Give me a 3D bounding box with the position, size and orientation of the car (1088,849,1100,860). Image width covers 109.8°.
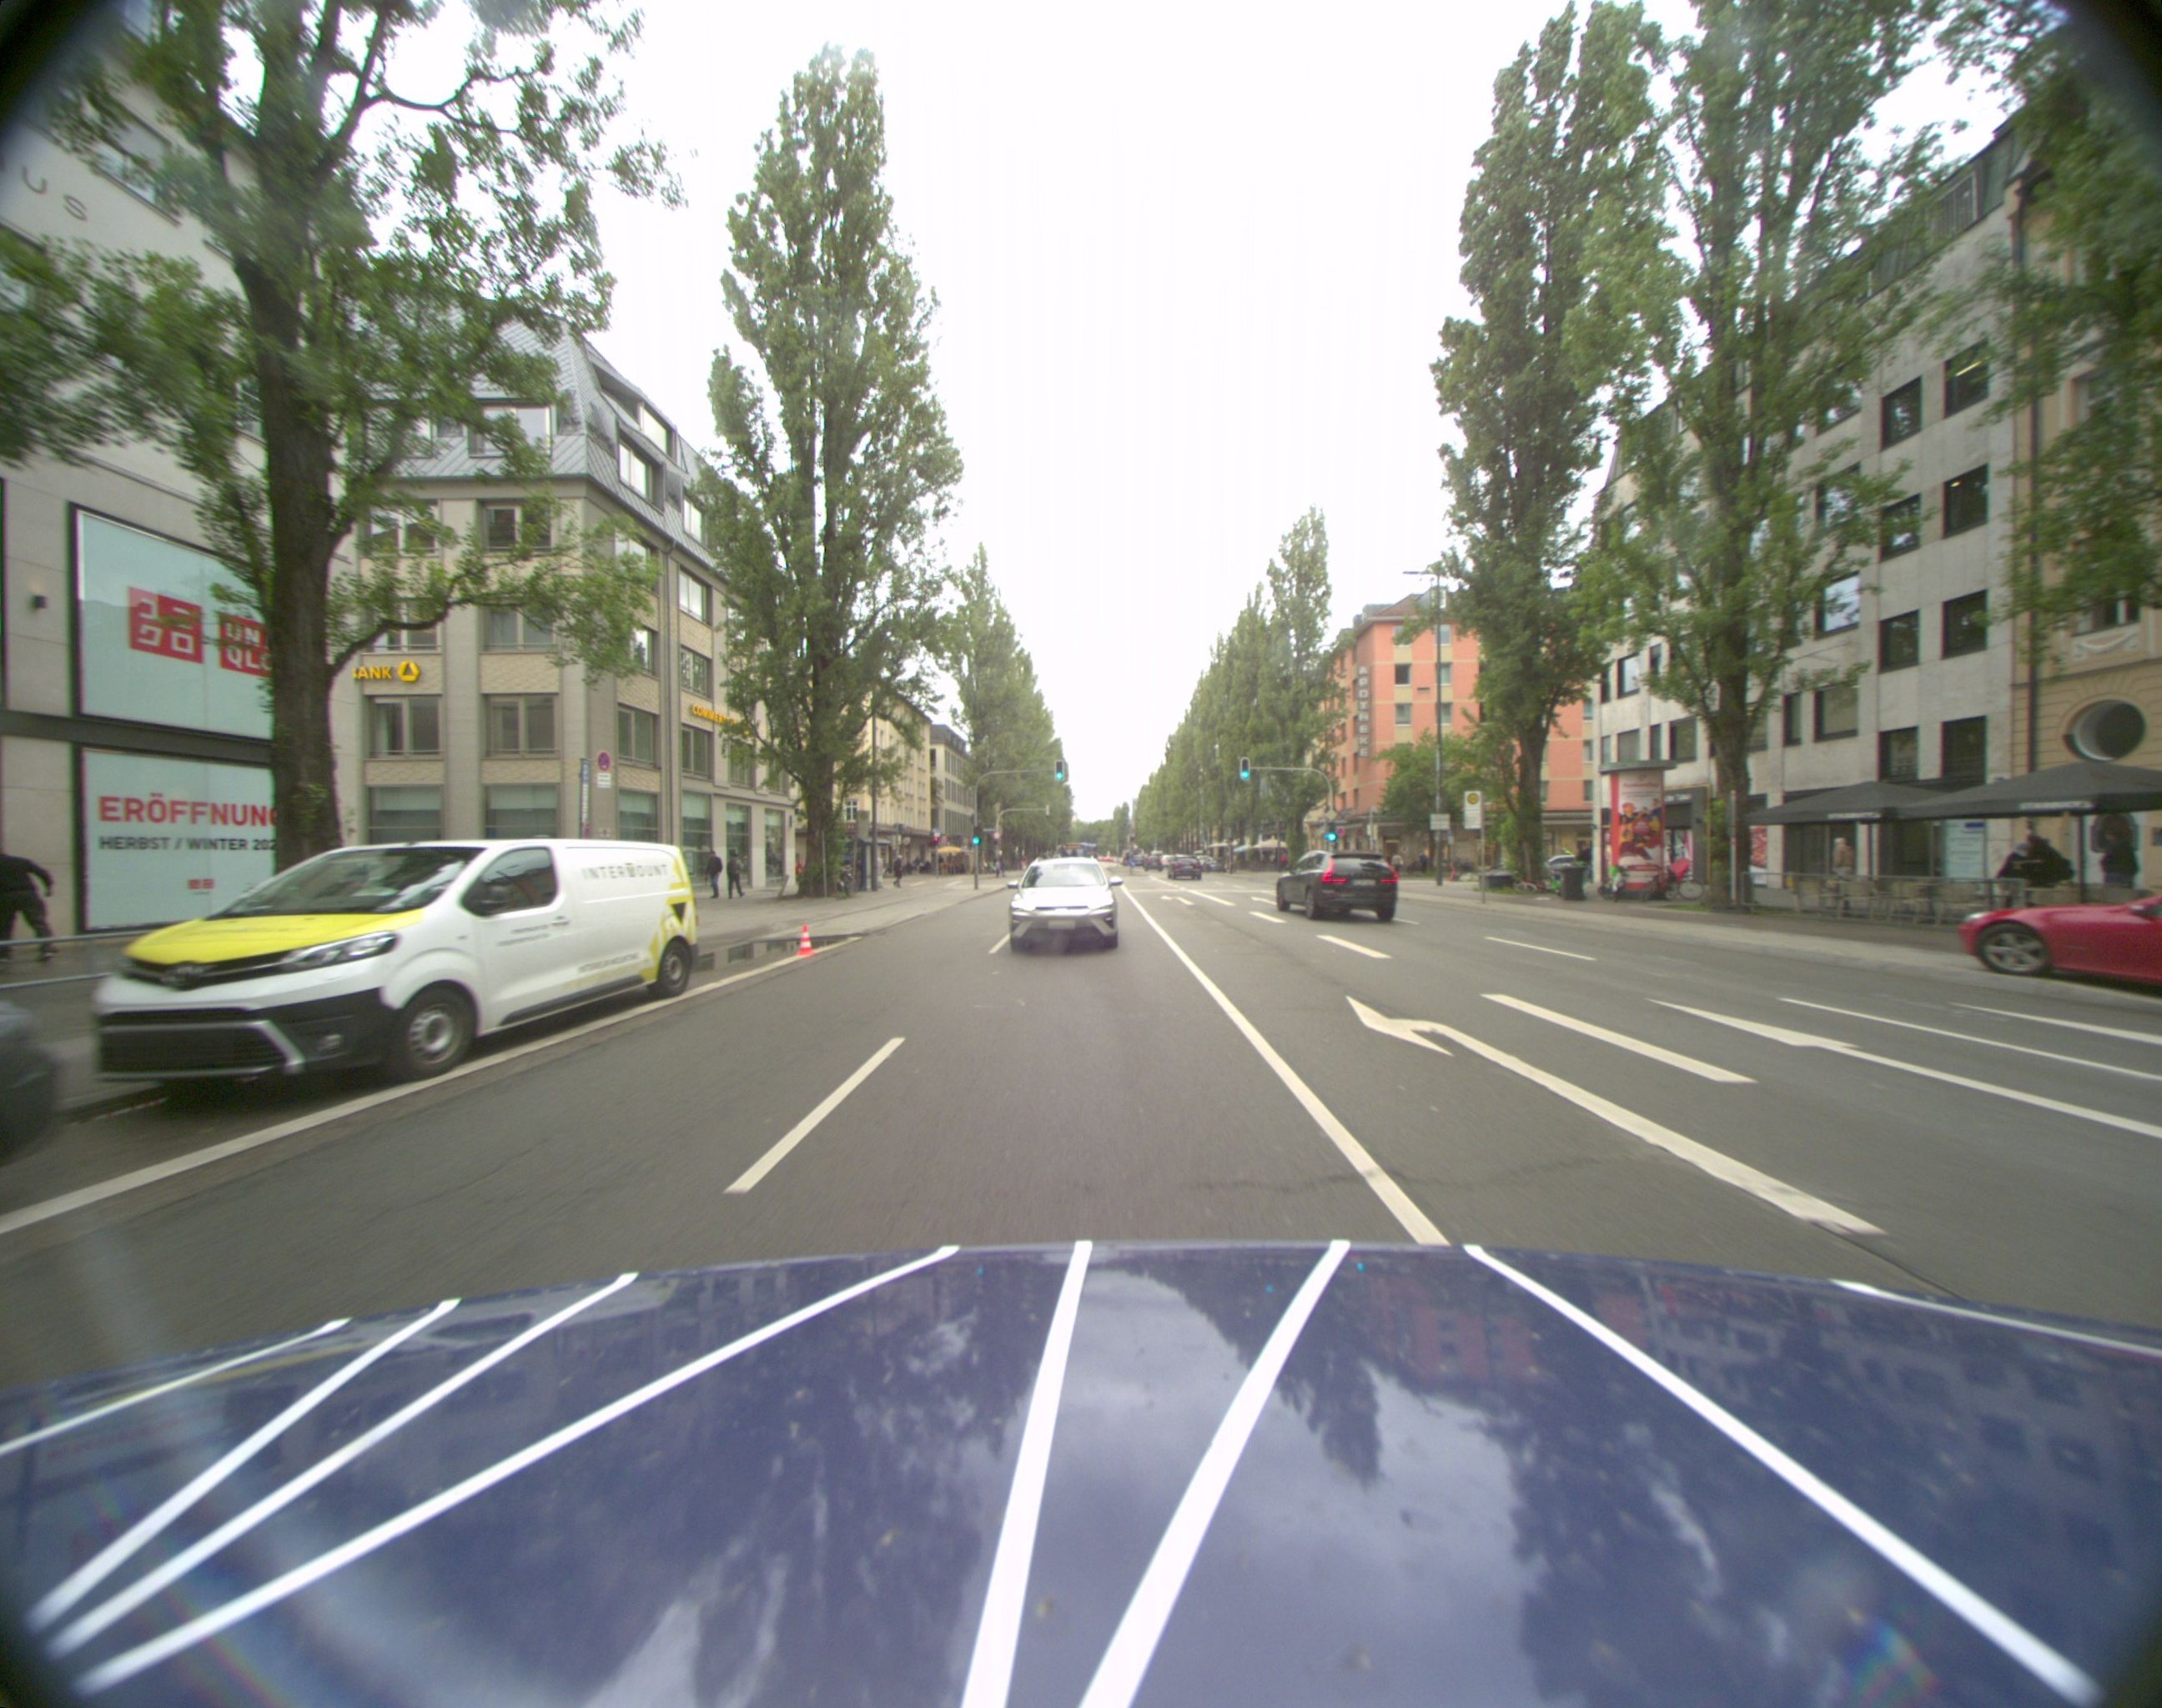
[{"bbox_3d":[2.143,0.067,125.236,2.052,1.671,4.586,1,0,1],"label":"car"}]

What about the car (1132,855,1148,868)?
[{"bbox_3d":[7.972,0.964,103.022,1.889,1.736,4.439,-1,0,2],"label":"car"}]

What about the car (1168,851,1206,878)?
[{"bbox_3d":[6.966,0.635,50.351,1.918,1.671,4.586,1,0,1],"label":"car"}]

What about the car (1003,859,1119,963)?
[{"bbox_3d":[-0.294,0.894,13.674,1.758,1.529,3.916,-1,0,1],"label":"car"}]

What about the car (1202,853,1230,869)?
[{"bbox_3d":[12.773,0.654,72.127,1.707,1.430,4.589,0,1,0],"label":"car"}]

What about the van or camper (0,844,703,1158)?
[{"bbox_3d":[-5.732,0.885,7.061,1.873,1.872,4.903,-1,0,1],"label":"van or camper"}]

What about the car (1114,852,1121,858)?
[{"bbox_3d":[10.113,0.293,209.039,1.848,1.626,4.576,1,0,2],"label":"car"}]

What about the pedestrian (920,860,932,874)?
[{"bbox_3d":[-14.034,1.181,68.872,0.870,1.192,0.699,-1,0,2],"label":"pedestrian"}]

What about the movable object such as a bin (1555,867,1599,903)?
[{"bbox_3d":[15.042,0.925,23.029,0.725,1.035,0.853,-3,1,-28],"label":"movable object such as a bin"}]

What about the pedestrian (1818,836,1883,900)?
[{"bbox_3d":[21.577,0.384,21.333,0.845,1.734,0.954,-2,1,2],"label":"pedestrian"}]

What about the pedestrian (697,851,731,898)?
[{"bbox_3d":[-14.348,0.802,29.724,0.820,1.807,0.890,-1,1,0],"label":"pedestrian"}]

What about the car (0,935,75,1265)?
[{"bbox_3d":[-5.642,1.149,1.406,1.724,1.434,4.353,-3,0,-1],"label":"car"}]

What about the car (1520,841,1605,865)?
[{"bbox_3d":[29.164,-0.057,46.095,3.994,1.412,1.783,-1,0,10],"label":"car"}]

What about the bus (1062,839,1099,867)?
[{"bbox_3d":[0.098,-0.088,84.538,2.805,2.886,12.863,-1,0,6],"label":"bus"}]

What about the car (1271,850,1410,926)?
[{"bbox_3d":[6.164,0.732,18.623,1.940,1.614,4.336,1,0,1],"label":"car"}]

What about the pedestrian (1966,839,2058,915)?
[{"bbox_3d":[19.962,0.477,16.313,0.752,1.558,0.989,-2,1,1],"label":"pedestrian"}]

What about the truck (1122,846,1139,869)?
[{"bbox_3d":[8.169,0.495,125.542,2.469,3.649,8.439,-1,1,1],"label":"truck"}]

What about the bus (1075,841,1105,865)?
[{"bbox_3d":[1.303,-0.117,97.369,2.805,2.886,12.862,-1,0,5],"label":"bus"}]

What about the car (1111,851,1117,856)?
[{"bbox_3d":[10.888,-0.047,253.570,1.848,1.626,4.576,1,0,2],"label":"car"}]

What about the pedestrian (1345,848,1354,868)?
[{"bbox_3d":[22.648,0.369,64.148,0.588,1.681,0.514,-1,1,1],"label":"pedestrian"}]

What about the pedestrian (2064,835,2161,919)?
[{"bbox_3d":[21.720,0.456,15.876,1.084,1.675,0.989,-2,1,0],"label":"pedestrian"}]

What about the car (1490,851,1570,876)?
[{"bbox_3d":[28.760,0.616,48.751,3.994,1.412,1.783,-2,1,10],"label":"car"}]

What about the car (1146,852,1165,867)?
[{"bbox_3d":[7.418,0.528,76.161,1.565,1.487,3.694,0,0,0],"label":"car"}]

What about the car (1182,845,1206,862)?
[{"bbox_3d":[10.155,-0.033,68.550,1.646,1.431,3.997,0,0,0],"label":"car"}]

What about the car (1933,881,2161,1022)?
[{"bbox_3d":[11.508,0.995,7.394,1.883,1.290,4.095,0,0,1],"label":"car"}]

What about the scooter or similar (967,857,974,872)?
[{"bbox_3d":[-9.839,0.931,67.797,0.408,1.236,1.370,-1,0,-15],"label":"scooter or similar"}]

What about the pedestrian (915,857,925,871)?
[{"bbox_3d":[-15.151,0.914,71.483,0.777,1.257,0.699,-1,1,2],"label":"pedestrian"}]

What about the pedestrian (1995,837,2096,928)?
[{"bbox_3d":[18.900,0.554,14.914,0.908,1.734,0.820,-1,1,6],"label":"pedestrian"}]

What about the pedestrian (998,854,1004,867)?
[{"bbox_3d":[-11.218,0.926,105.999,0.658,1.840,0.906,-1,1,3],"label":"pedestrian"}]

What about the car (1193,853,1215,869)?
[{"bbox_3d":[12.907,0.703,80.062,1.707,1.574,4.096,0,0,1],"label":"car"}]

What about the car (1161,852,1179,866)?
[{"bbox_3d":[10.762,0.568,92.033,1.841,1.706,4.636,0,0,2],"label":"car"}]

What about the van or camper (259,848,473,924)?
[{"bbox_3d":[-19.302,0.831,20.635,4.113,1.856,1.898,-2,1,5],"label":"van or camper"}]

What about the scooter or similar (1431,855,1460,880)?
[{"bbox_3d":[19.412,0.714,40.464,1.362,1.331,0.439,-1,1,21],"label":"scooter or similar"}]

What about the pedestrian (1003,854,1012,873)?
[{"bbox_3d":[-6.293,0.845,65.015,0.767,1.600,0.864,-1,1,-3],"label":"pedestrian"}]

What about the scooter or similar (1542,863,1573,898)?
[{"bbox_3d":[15.748,0.850,25.114,1.565,1.107,0.388,-1,1,-39],"label":"scooter or similar"}]

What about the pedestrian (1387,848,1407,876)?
[{"bbox_3d":[18.326,0.437,44.081,0.780,1.609,0.934,-1,1,1],"label":"pedestrian"}]
